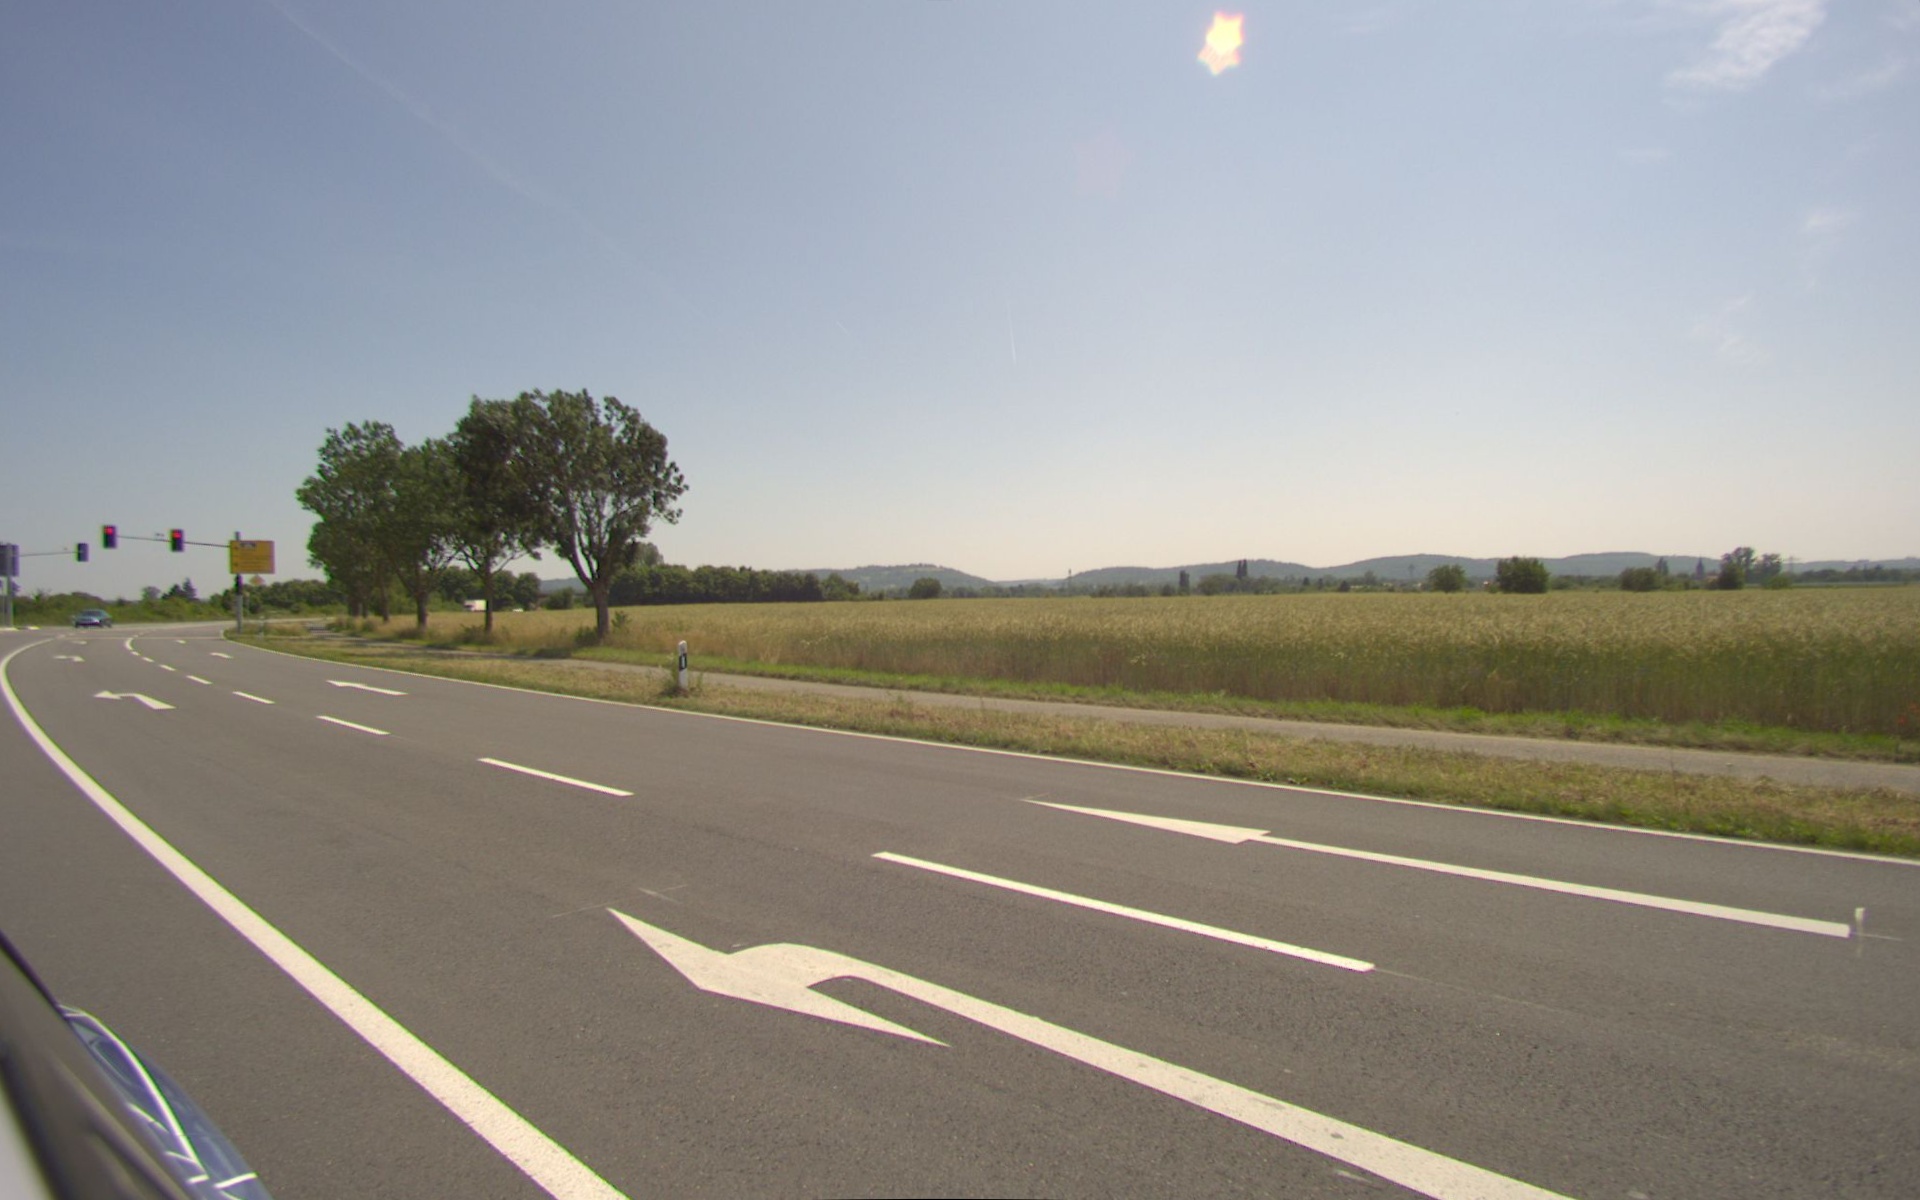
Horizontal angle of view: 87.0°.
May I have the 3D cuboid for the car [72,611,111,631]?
[{"bbox_3d":[-69.690,1.688,81.274,1.630,1.578,4.012,0,-1,-30],"label":"car"}]
